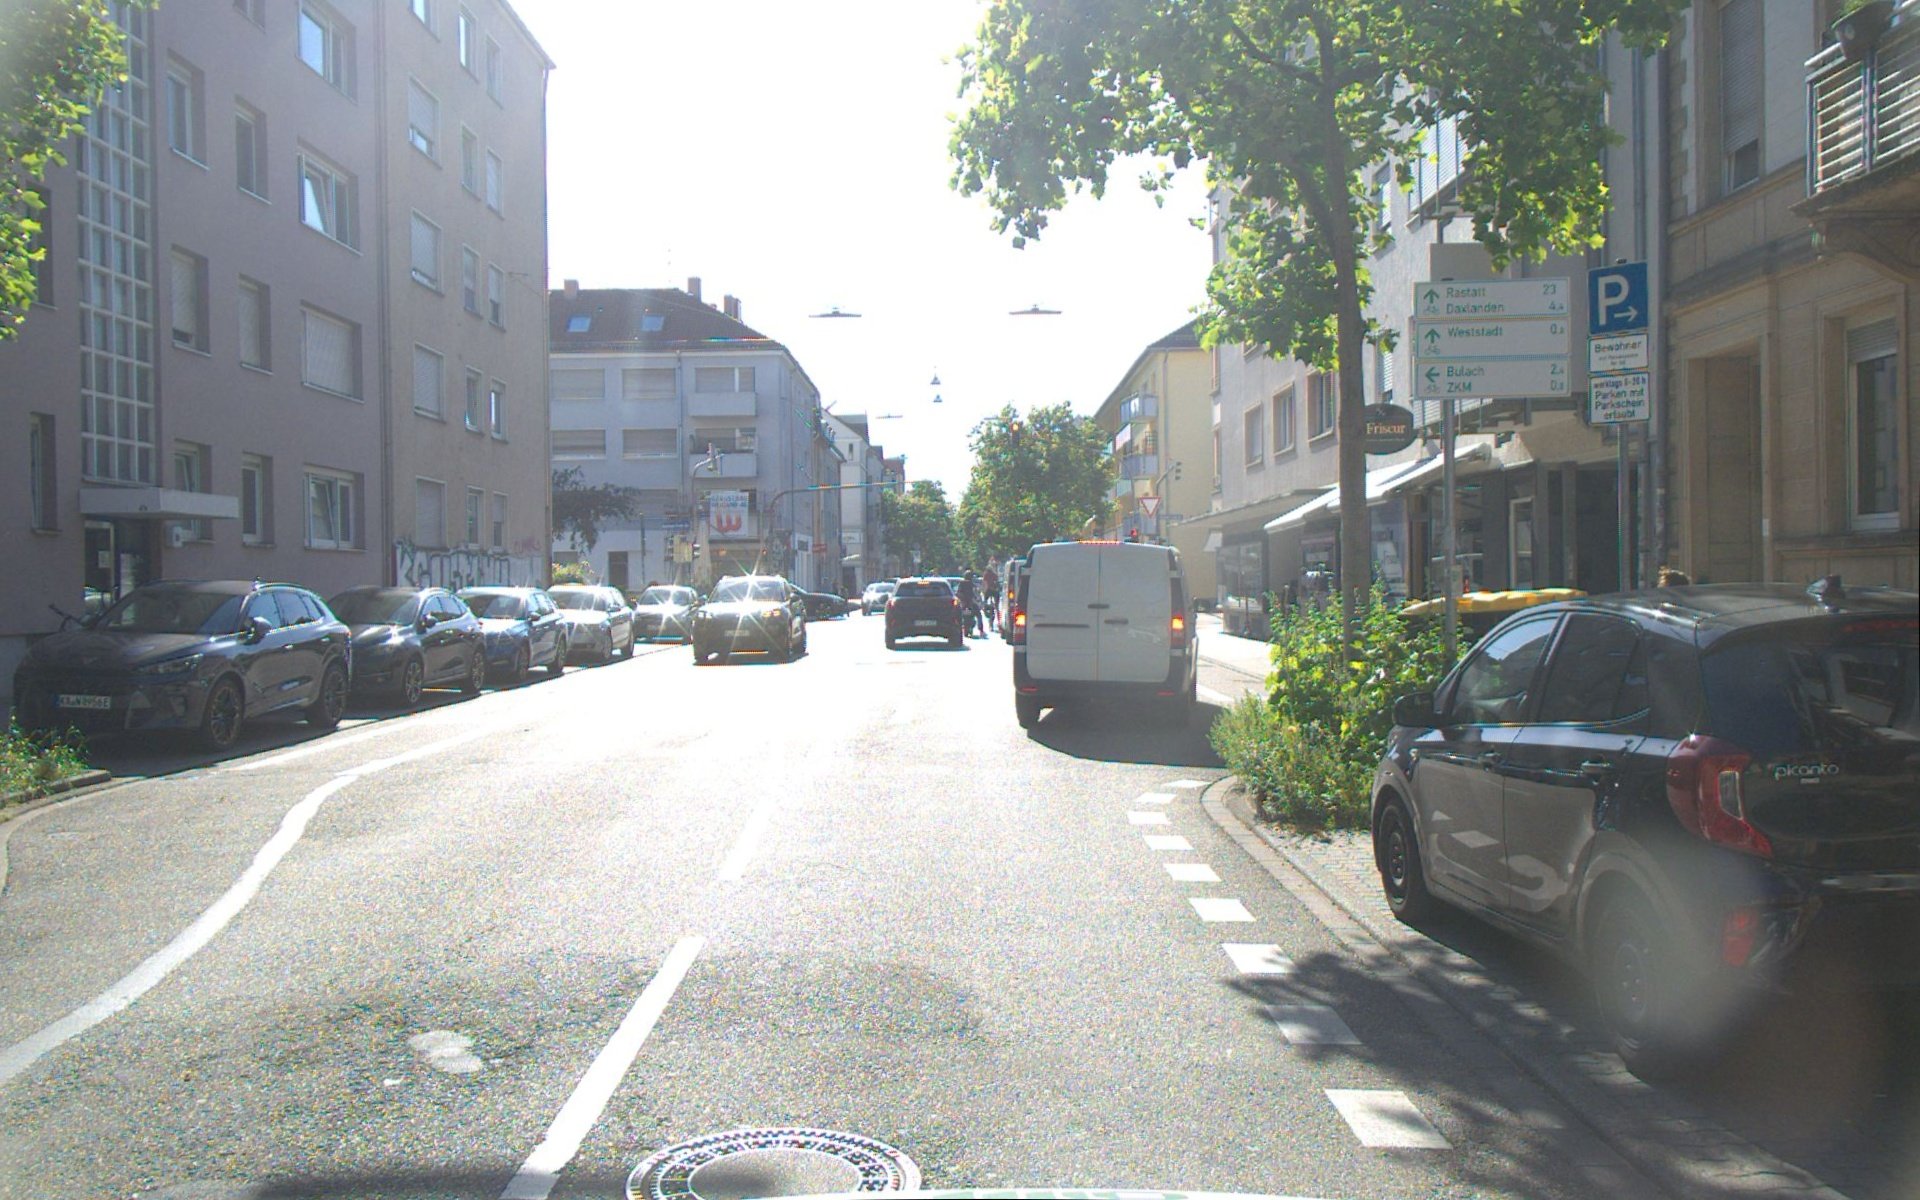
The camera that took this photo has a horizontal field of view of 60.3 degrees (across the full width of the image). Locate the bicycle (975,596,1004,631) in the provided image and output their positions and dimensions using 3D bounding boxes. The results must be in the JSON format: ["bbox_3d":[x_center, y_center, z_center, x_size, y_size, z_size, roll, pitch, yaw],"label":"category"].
[{"bbox_3d":[0.871,0.398,49.348,0.759,1.009,1.717,-1,0,-2],"label":"bicycle"}]

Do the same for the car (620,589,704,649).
[{"bbox_3d":[-7.934,0.467,44.346,1.620,1.505,3.999,1,0,-2],"label":"car"}]

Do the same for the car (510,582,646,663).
[{"bbox_3d":[-7.781,0.420,34.139,1.741,1.495,4.759,2,0,-1],"label":"car"}]

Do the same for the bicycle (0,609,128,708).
[{"bbox_3d":[-10.976,0.689,20.334,0.543,1.121,1.903,-1,0,-1],"label":"bicycle"}]

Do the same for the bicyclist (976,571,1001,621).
[{"bbox_3d":[0.847,-0.125,49.551,0.670,1.474,0.940,-1,0,-2],"label":"bicyclist"}]

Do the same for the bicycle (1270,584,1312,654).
[{"bbox_3d":[6.399,0.358,31.990,0.465,1.296,1.218,-4,0,-1],"label":"bicycle"}]

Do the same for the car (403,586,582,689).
[{"bbox_3d":[-7.735,0.557,27.803,1.686,1.523,4.625,2,0,-1],"label":"car"}]

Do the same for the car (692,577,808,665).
[{"bbox_3d":[-4.216,0.375,33.811,1.829,1.642,4.427,-1,0,-1],"label":"car"}]

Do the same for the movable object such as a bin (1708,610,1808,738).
[{"bbox_3d":[6.809,0.623,14.134,0.586,1.060,0.546,-1,0,-1],"label":"movable object such as a bin"}]

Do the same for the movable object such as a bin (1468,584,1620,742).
[{"bbox_3d":[5.379,0.548,15.222,1.021,1.371,1.104,0,1,38],"label":"movable object such as a bin"}]

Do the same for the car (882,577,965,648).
[{"bbox_3d":[-0.858,0.258,38.262,1.807,1.534,3.999,-1,0,-2],"label":"car"}]

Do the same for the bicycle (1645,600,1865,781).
[{"bbox_3d":[5.691,0.598,11.987,0.525,1.169,2.123,-1,0,-1],"label":"bicycle"}]

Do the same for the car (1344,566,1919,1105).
[{"bbox_3d":[2.789,0.639,6.473,1.602,1.501,3.579,-1,0,-2],"label":"car"}]

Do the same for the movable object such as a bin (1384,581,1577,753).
[{"bbox_3d":[4.468,0.542,14.187,1.261,1.371,1.091,-1,0,-43],"label":"movable object such as a bin"}]

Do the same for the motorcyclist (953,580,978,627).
[{"bbox_3d":[0.145,0.093,44.075,0.645,1.248,0.694,-1,0,-2],"label":"motorcyclist"}]

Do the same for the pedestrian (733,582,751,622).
[{"bbox_3d":[-9.293,0.064,70.395,0.670,1.692,0.601,-1,0,-2],"label":"pedestrian"}]

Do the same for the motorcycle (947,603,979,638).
[{"bbox_3d":[0.072,0.534,44.050,0.791,0.878,1.822,-1,0,-2],"label":"motorcycle"}]

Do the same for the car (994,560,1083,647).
[{"bbox_3d":[1.852,0.057,40.354,1.779,1.955,4.643,-1,0,-2],"label":"car"}]

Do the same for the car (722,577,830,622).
[{"bbox_3d":[-6.892,-0.026,62.276,3.908,1.668,1.999,0,0,-4],"label":"car"}]

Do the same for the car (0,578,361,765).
[{"bbox_3d":[-7.863,0.620,16.901,1.838,1.634,4.365,1,0,0],"label":"car"}]

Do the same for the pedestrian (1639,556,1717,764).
[{"bbox_3d":[5.273,0.433,12.159,0.360,1.495,0.389,-2,0,-2],"label":"pedestrian"}]

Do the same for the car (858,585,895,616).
[{"bbox_3d":[-3.905,0.026,78.128,1.585,1.422,3.731,0,0,0],"label":"car"}]

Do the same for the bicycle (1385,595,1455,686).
[{"bbox_3d":[6.874,0.588,24.801,0.537,1.291,1.883,2,0,1],"label":"bicycle"}]

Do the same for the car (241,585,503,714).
[{"bbox_3d":[-7.914,0.604,22.717,1.952,1.523,4.229,2,0,1],"label":"car"}]

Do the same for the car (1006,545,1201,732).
[{"bbox_3d":[1.742,0.366,18.821,1.942,1.854,4.550,0,0,8],"label":"car"}]

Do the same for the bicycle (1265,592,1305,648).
[{"bbox_3d":[6.918,0.416,35.243,0.513,1.138,1.534,0,1,-1],"label":"bicycle"}]

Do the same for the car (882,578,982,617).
[{"bbox_3d":[-1.130,-0.095,65.681,3.906,1.512,1.726,-1,0,-2],"label":"car"}]
